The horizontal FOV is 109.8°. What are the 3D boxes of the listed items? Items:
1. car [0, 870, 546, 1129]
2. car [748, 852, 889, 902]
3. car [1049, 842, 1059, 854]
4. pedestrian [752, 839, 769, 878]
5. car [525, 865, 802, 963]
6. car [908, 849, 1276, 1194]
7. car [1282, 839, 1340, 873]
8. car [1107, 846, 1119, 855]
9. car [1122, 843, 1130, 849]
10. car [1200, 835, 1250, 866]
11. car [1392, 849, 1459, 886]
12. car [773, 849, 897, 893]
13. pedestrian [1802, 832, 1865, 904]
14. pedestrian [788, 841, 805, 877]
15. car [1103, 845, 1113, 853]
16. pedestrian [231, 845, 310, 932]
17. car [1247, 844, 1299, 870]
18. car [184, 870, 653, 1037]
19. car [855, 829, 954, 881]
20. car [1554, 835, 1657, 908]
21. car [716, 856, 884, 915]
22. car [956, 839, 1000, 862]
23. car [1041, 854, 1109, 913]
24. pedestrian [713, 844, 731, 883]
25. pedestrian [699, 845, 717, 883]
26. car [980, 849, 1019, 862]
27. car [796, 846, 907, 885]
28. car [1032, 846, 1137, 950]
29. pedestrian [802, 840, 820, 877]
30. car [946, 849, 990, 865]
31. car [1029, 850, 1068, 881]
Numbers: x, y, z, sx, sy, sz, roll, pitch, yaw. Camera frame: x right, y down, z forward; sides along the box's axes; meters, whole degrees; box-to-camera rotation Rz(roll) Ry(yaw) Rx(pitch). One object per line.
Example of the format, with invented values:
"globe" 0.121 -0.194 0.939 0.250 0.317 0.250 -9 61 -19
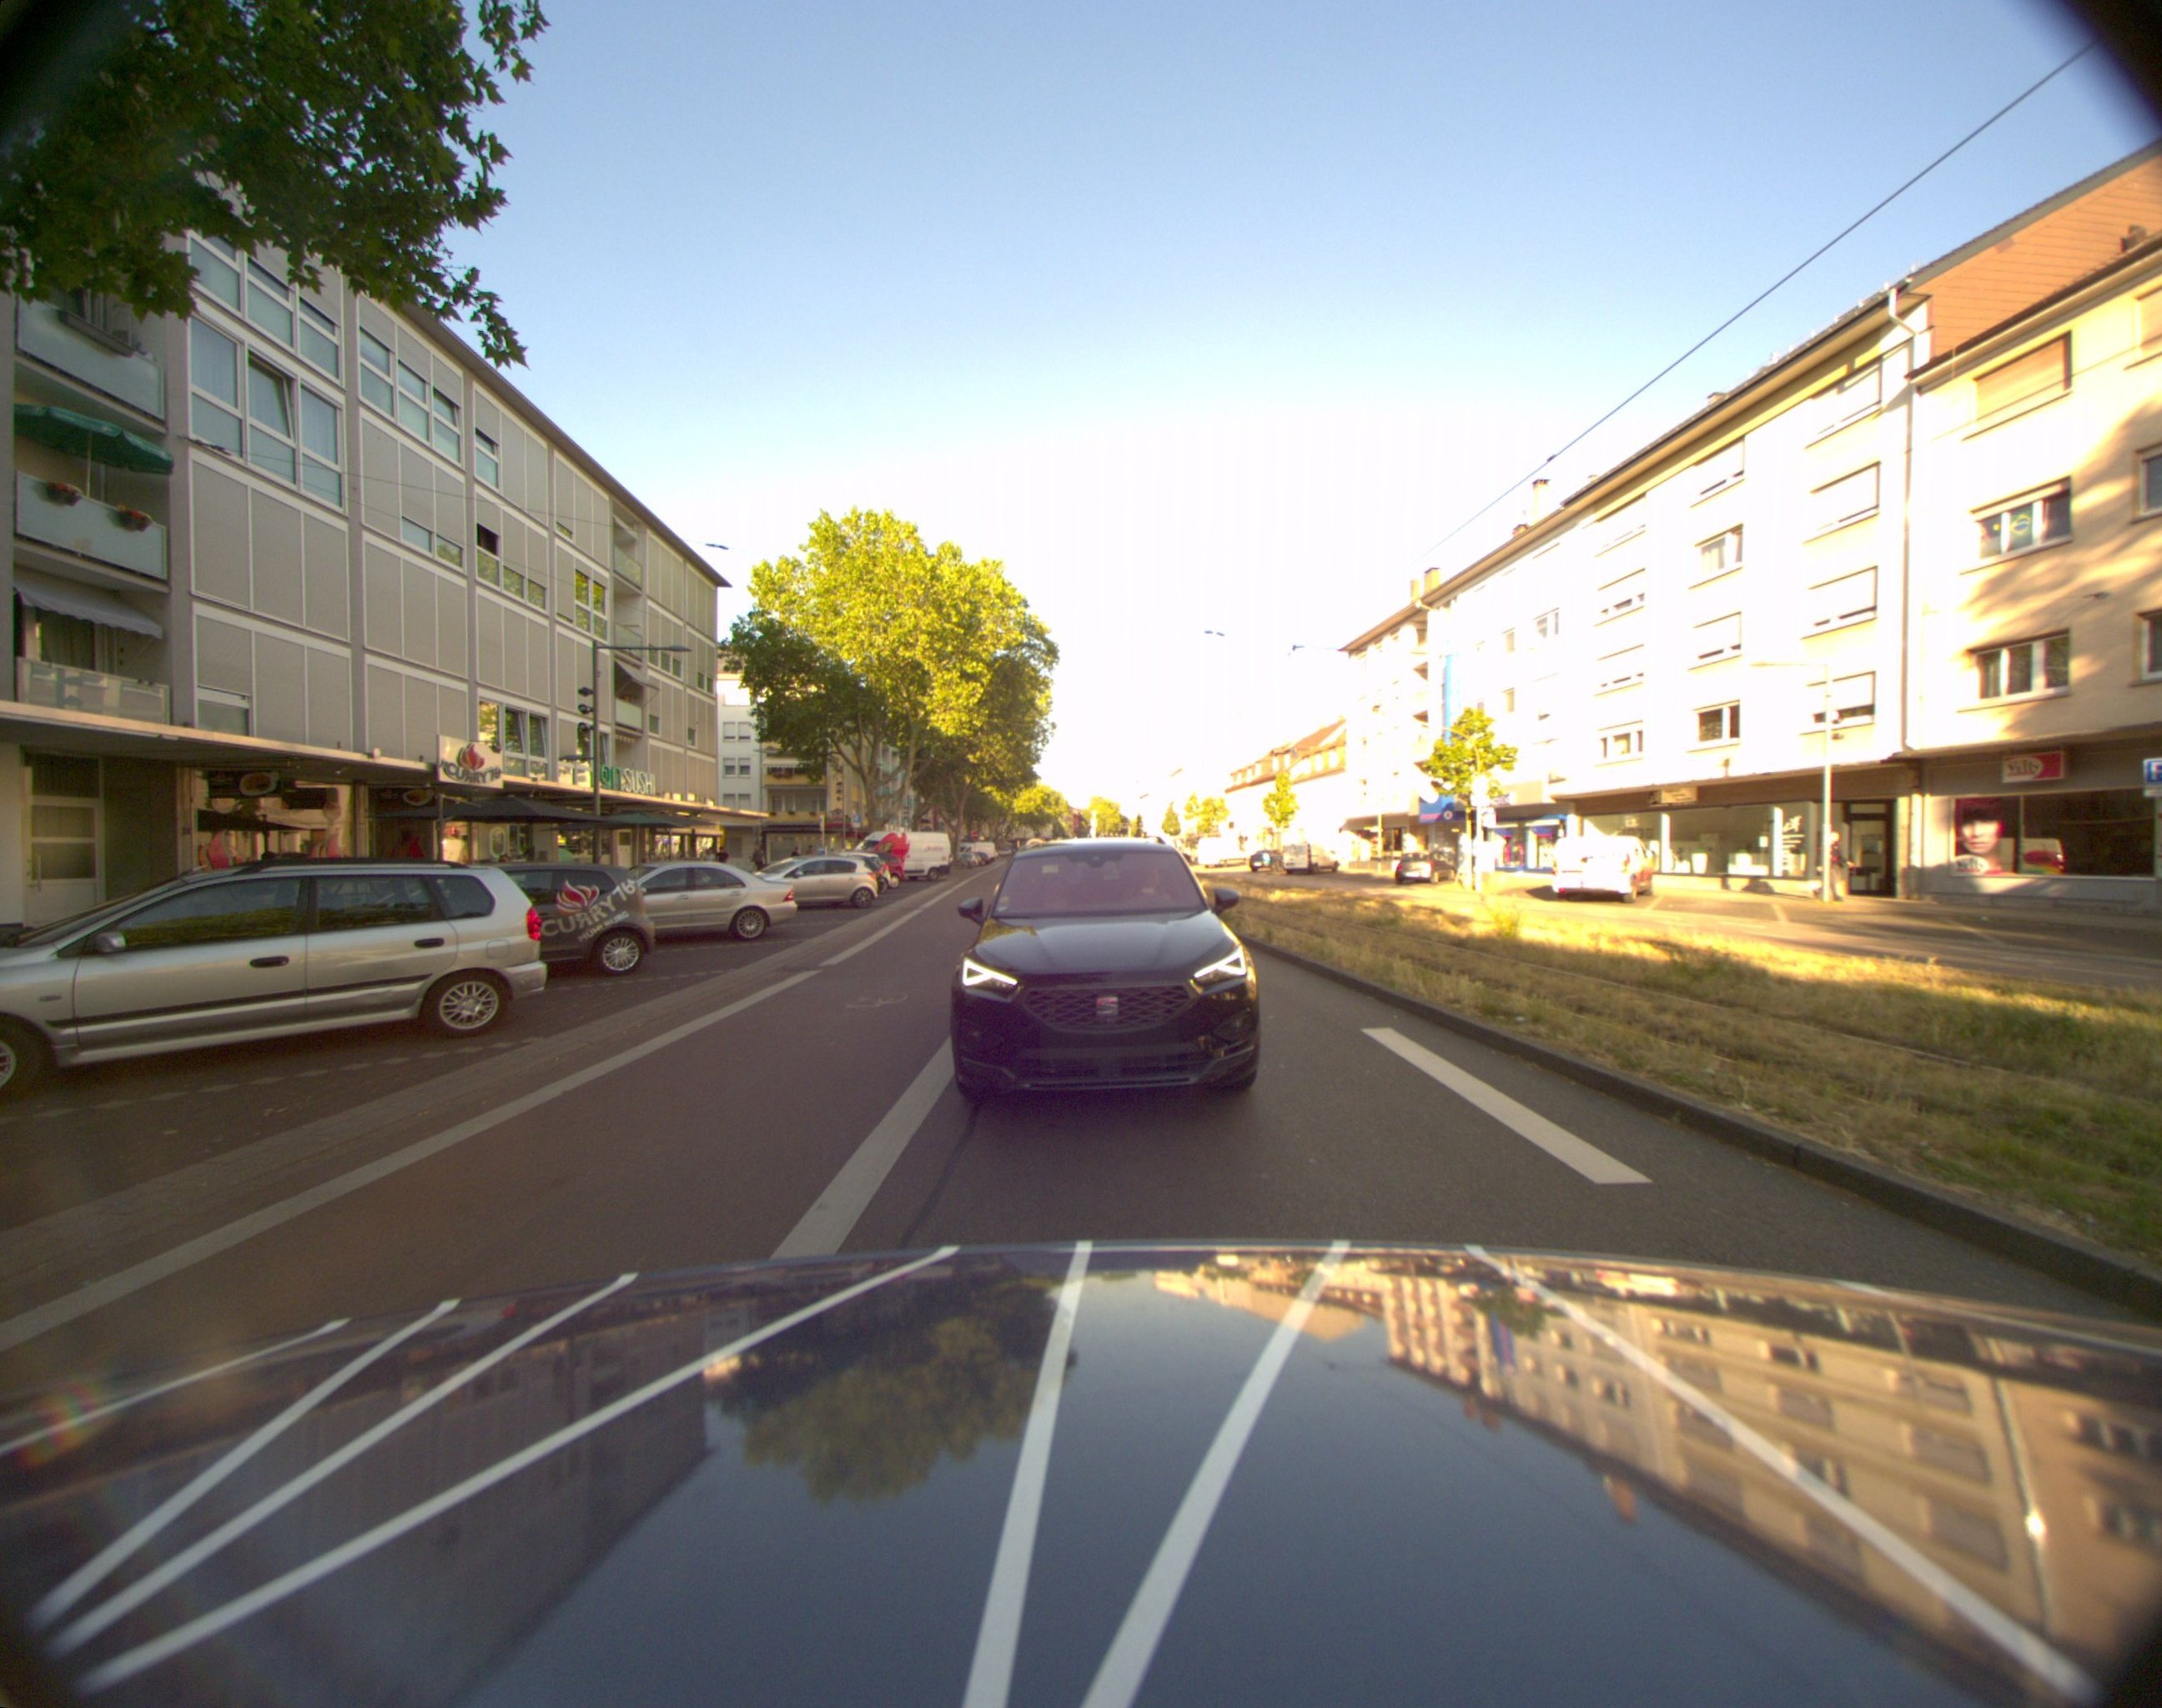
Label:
"car" -6.861 0.946 6.003 1.672 1.533 3.993 2 1 38
"car" -8.319 0.720 24.182 3.949 1.420 1.672 1 1 -34
"car" -7.341 -1.595 207.060 2.660 2.989 7.131 -2 1 -2
"pedestrian" -16.628 0.231 39.431 0.749 2.002 0.558 -1 1 -23
"car" -7.158 0.921 13.344 1.592 1.393 3.950 2 1 41
"car" 0.082 0.835 5.813 1.785 1.639 3.999 -2 1 1
"car" 14.539 0.095 47.821 1.853 1.927 4.513 -1 1 40
"car" 5.651 -0.625 135.127 1.846 1.571 4.449 0 1 -3
"car" 14.652 -2.661 246.666 2.497 1.871 5.275 0 1 5
"car" 13.072 -0.380 68.480 1.922 2.599 6.601 -1 1 34
"car" 15.424 0.562 33.905 1.731 1.489 4.008 -1 1 40
"car" -8.838 0.633 27.380 3.948 1.421 1.672 2 2 -32
"pedestrian" 19.673 0.352 19.884 0.757 1.817 0.917 -1 1 1
"pedestrian" -15.749 0.269 42.118 0.748 1.964 0.575 0 1 -4
"car" 6.295 -1.113 177.273 1.999 1.783 3.998 0 1 -4
"pedestrian" -15.079 0.621 14.152 0.583 1.573 0.771 0 1 2
"car" 13.825 0.175 54.668 3.922 1.704 1.853 -3 1 -45
"car" -7.559 0.961 9.034 1.672 1.420 3.950 2 1 38
"car" -8.739 0.063 37.839 4.606 2.479 1.672 0 0 -44
"car" 15.624 0.437 22.560 1.853 1.888 4.007 -1 2 44
"car" -7.501 0.801 20.544 3.950 1.420 1.555 1 1 -45
"car" -11.514 -0.424 85.139 1.973 2.454 4.605 1 1 44
"car" -0.177 0.772 22.014 1.729 1.467 3.999 -2 1 -1
"pedestrian" -15.859 0.395 33.575 0.545 1.710 0.457 0 1 -4
"pedestrian" -16.420 0.428 33.464 0.537 1.630 0.478 0 1 -4
"car" -8.766 0.157 82.291 1.778 1.326 3.943 0 1 44
"car" -9.185 0.470 30.491 3.948 1.421 1.672 1 2 -32
"car" 0.038 0.700 14.386 1.646 1.646 3.999 -2 1 -1
"pedestrian" -14.936 0.250 42.049 0.748 2.002 0.764 0 1 -4
"car" -10.806 0.271 72.947 1.778 1.396 3.943 1 1 44
"car" -1.588 0.537 38.380 1.729 1.443 4.227 -2 1 -1
